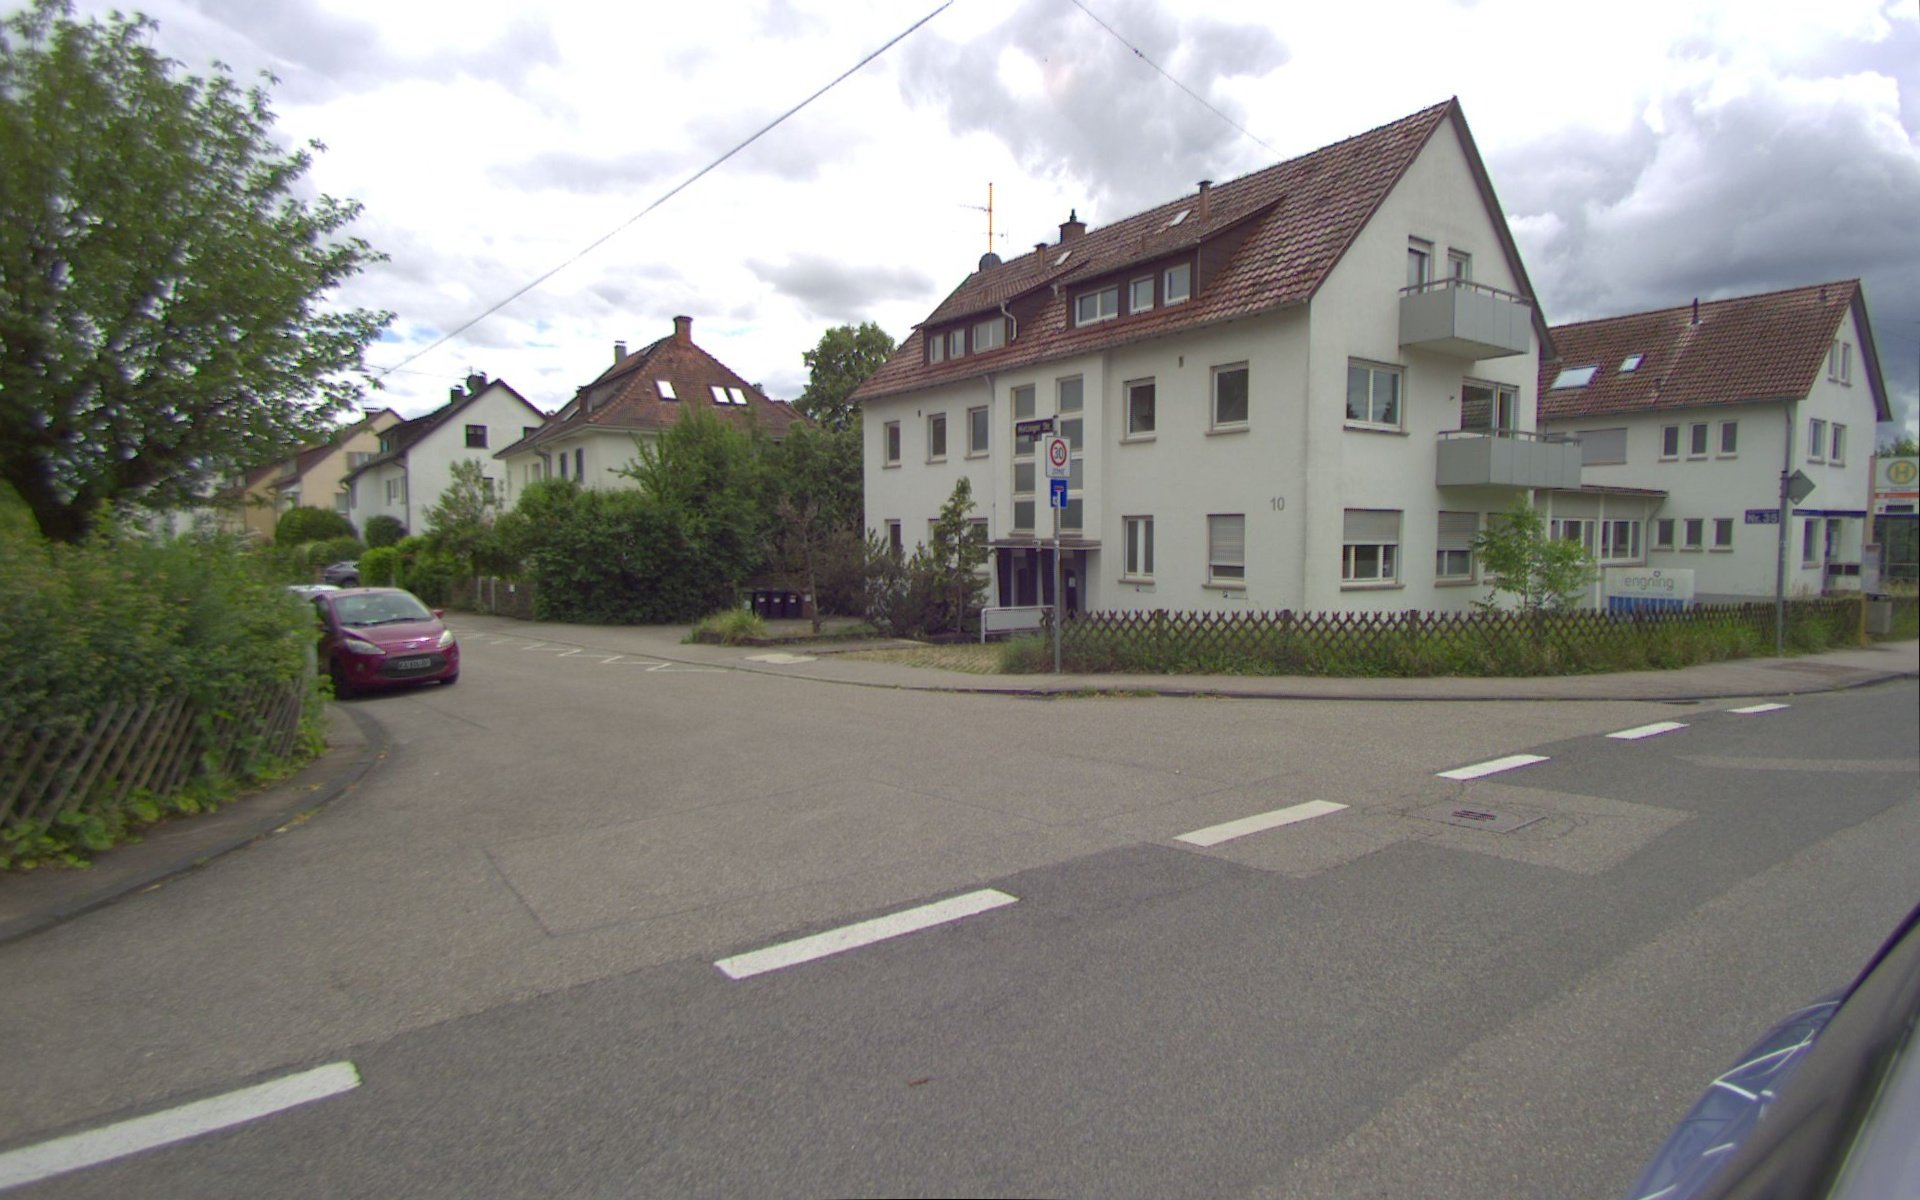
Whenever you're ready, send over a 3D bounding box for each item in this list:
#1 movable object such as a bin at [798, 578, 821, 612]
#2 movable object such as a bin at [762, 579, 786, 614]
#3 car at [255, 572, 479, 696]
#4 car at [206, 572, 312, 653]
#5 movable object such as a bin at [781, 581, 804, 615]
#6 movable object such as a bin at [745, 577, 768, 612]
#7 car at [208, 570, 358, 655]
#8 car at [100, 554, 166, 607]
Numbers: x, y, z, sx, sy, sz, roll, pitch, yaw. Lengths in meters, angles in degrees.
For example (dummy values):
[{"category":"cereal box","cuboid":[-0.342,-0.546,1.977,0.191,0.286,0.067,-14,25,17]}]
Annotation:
[{"category":"movable object such as a bin","cuboid":[-5.313,-0.173,35.753,0.624,1.185,0.564,-1,1,-35]},{"category":"movable object such as a bin","cuboid":[-6.436,-0.138,34.991,0.624,1.185,0.564,-1,1,-35]},{"category":"car","cuboid":[-9.127,0.427,15.490,3.690,1.582,1.666,1,5,39]},{"category":"car","cuboid":[-19.884,0.261,28.639,1.966,2.038,3.994,-4,4,-41]},{"category":"movable object such as a bin","cuboid":[-5.860,-0.085,35.348,0.624,1.185,0.564,-1,1,-35]},{"category":"movable object such as a bin","cuboid":[-6.967,-0.188,34.616,0.624,1.185,0.564,-1,1,-35]},{"category":"car","cuboid":[-13.066,0.164,19.450,1.813,1.386,3.732,-4,4,-42]},{"category":"car","cuboid":[-33.520,-0.815,41.000,1.965,2.038,3.995,-2,2,-40]}]
